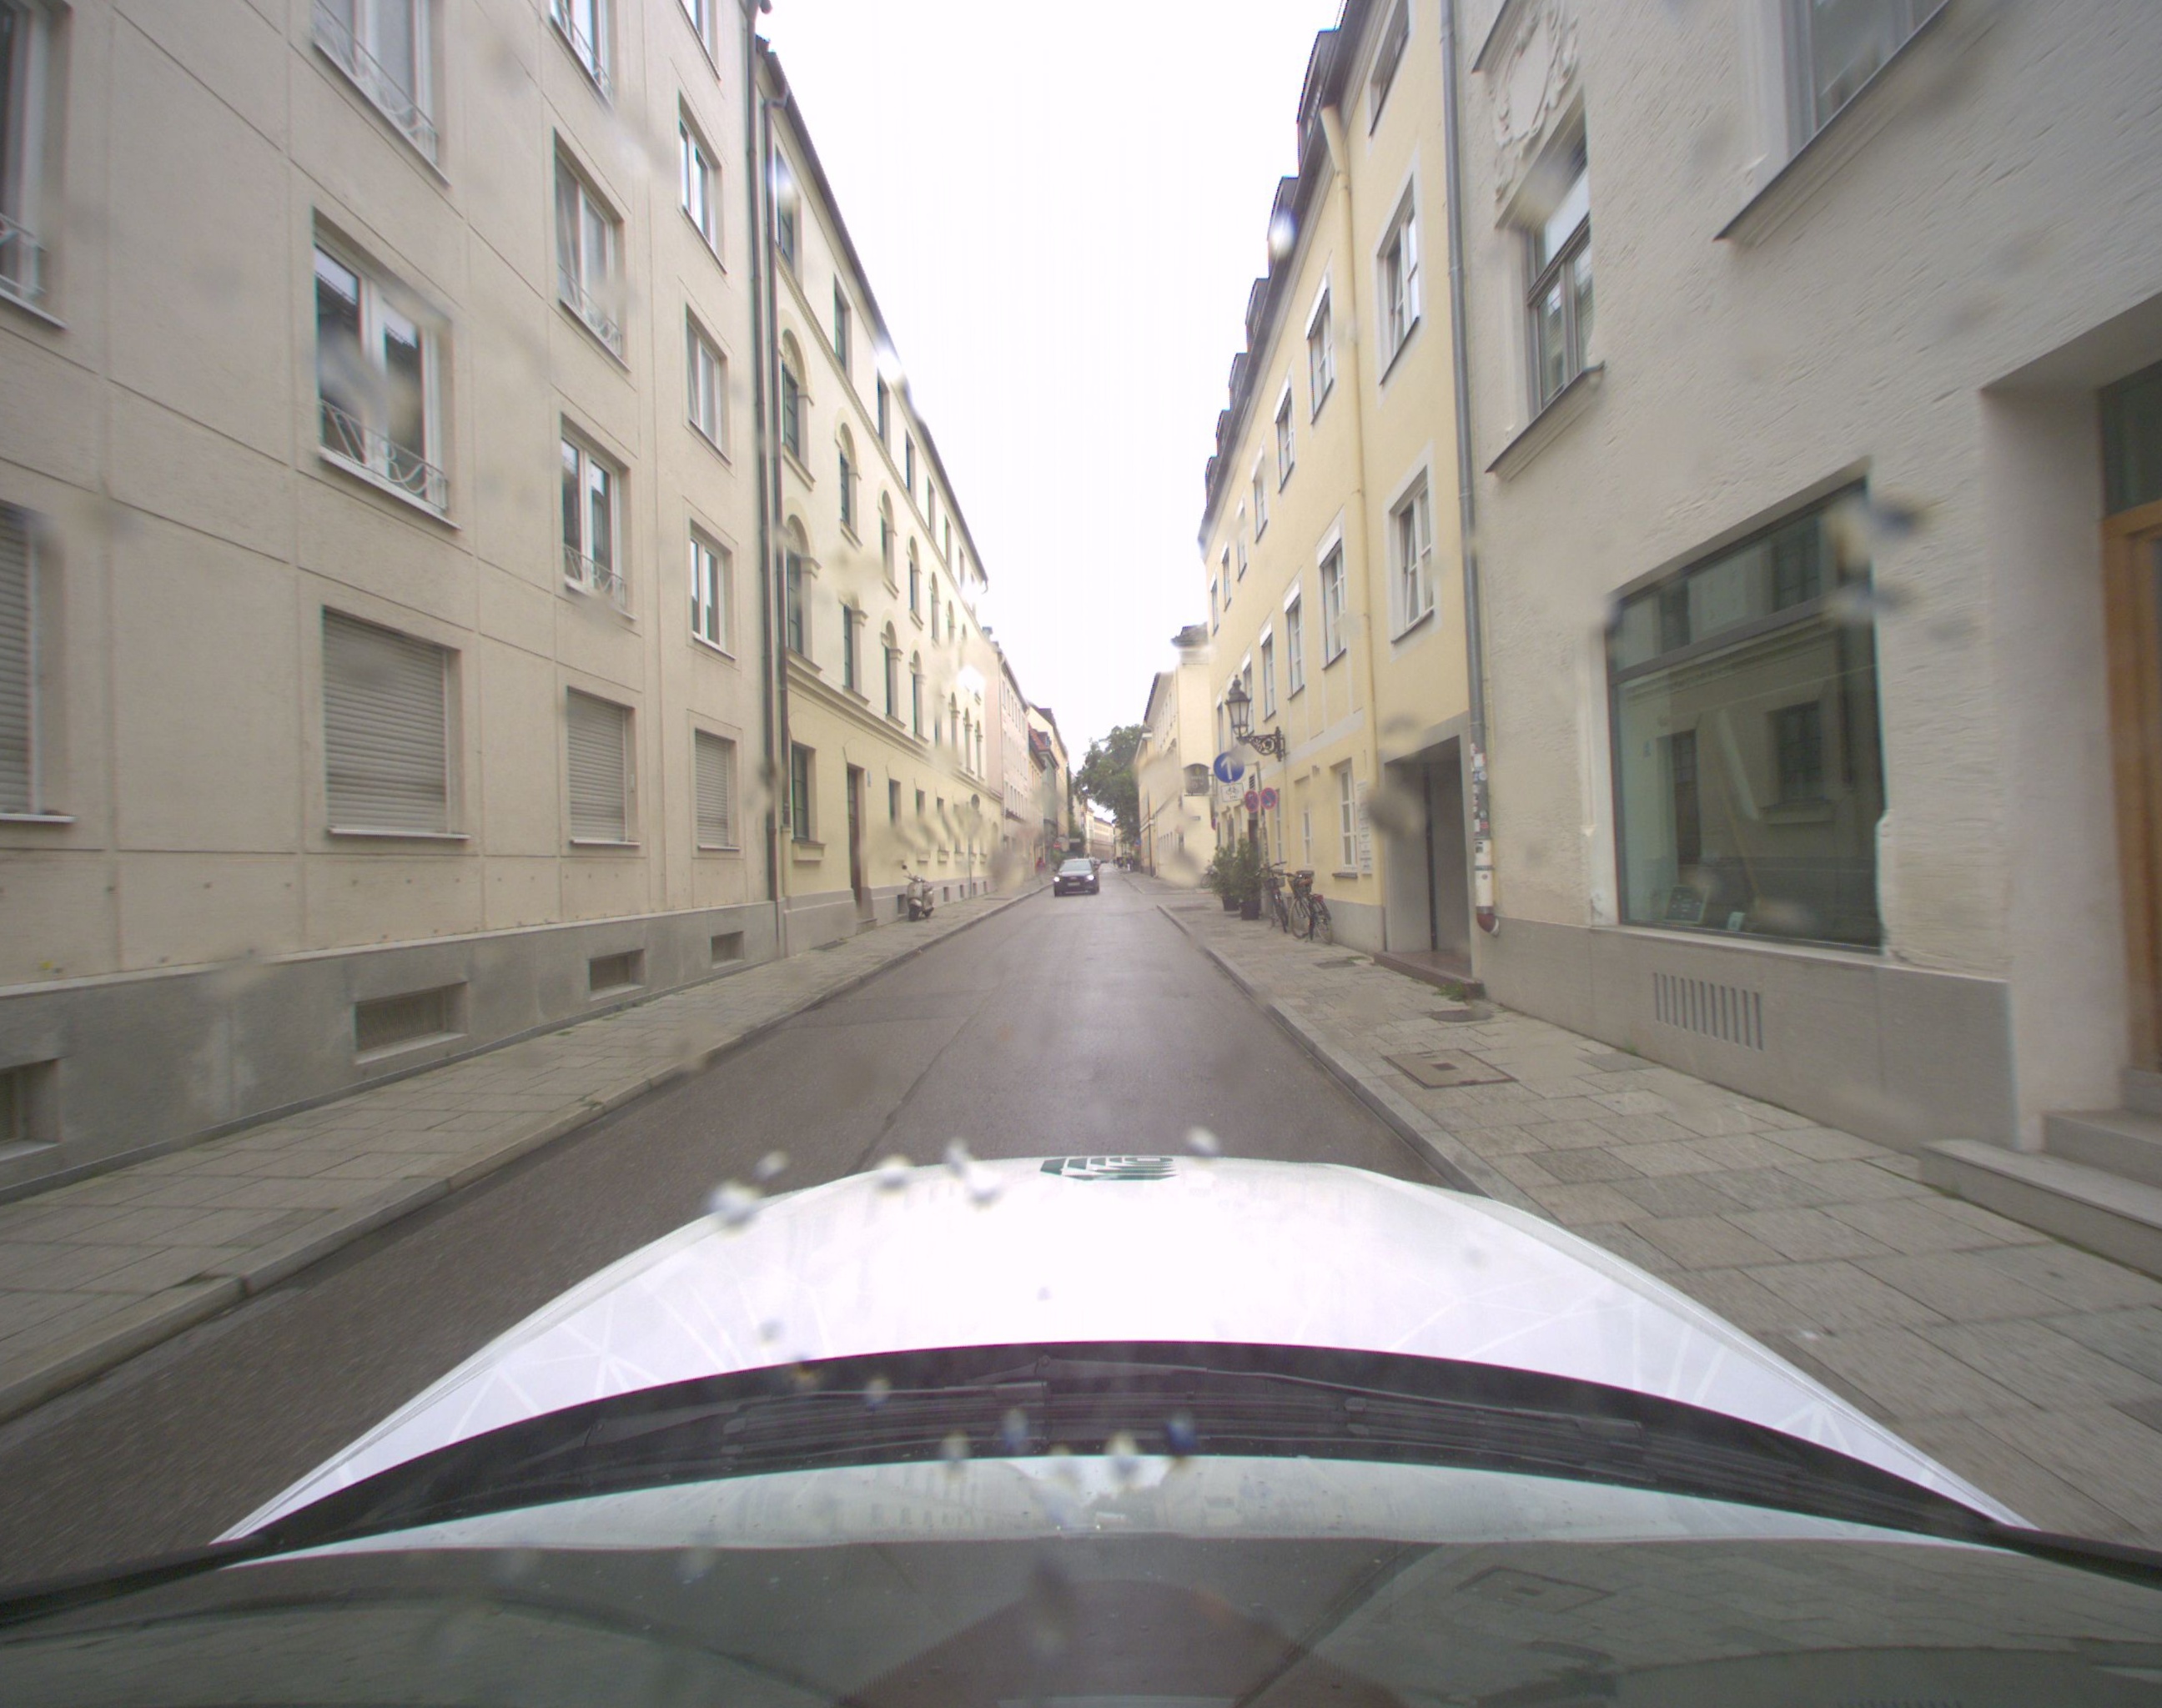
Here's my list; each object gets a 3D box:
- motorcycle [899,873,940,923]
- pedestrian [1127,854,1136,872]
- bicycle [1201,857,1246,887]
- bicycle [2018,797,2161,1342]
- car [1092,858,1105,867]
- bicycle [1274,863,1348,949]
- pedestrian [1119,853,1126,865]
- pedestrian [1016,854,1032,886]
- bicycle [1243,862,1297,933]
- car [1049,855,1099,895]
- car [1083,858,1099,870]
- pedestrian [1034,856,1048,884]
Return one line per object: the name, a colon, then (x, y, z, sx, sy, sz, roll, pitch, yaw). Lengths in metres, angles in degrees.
motorcycle: (-4.066, 1.083, 20.599, 0.600, 1.174, 1.709, -2, 0, 2)
pedestrian: (5.306, 0.932, 86.127, 0.877, 1.802, 1.047, -1, -1, 2)
bicycle: (5.984, 0.761, 34.232, 1.751, 1.144, 0.586, -3, 2, 1)
bicycle: (3.027, 0.537, 1.257, 0.710, 1.396, 2.124, -5, 0, 4)
car: (2.872, 1.334, 133.587, 1.771, 1.466, 3.546, -1, 0, 4)
bicycle: (3.438, 0.733, 12.340, 0.563, 1.137, 1.989, -5, 0, 3)
pedestrian: (6.076, 0.759, 119.113, 1.011, 1.802, 1.350, -1, 0, 2)
pedestrian: (-3.197, 0.888, 45.961, 0.807, 1.755, 0.990, -2, 1, -1)
bicycle: (3.357, 0.738, 14.562, 0.563, 1.137, 1.685, -5, 0, 3)
car: (-0.241, 0.864, 35.301, 1.804, 1.594, 4.005, -2, 0, 4)
car: (1.307, 1.240, 103.874, 1.771, 1.466, 3.546, -1, 0, 4)
pedestrian: (-2.495, 0.968, 50.364, 0.763, 1.708, 0.785, -3, -1, -1)
